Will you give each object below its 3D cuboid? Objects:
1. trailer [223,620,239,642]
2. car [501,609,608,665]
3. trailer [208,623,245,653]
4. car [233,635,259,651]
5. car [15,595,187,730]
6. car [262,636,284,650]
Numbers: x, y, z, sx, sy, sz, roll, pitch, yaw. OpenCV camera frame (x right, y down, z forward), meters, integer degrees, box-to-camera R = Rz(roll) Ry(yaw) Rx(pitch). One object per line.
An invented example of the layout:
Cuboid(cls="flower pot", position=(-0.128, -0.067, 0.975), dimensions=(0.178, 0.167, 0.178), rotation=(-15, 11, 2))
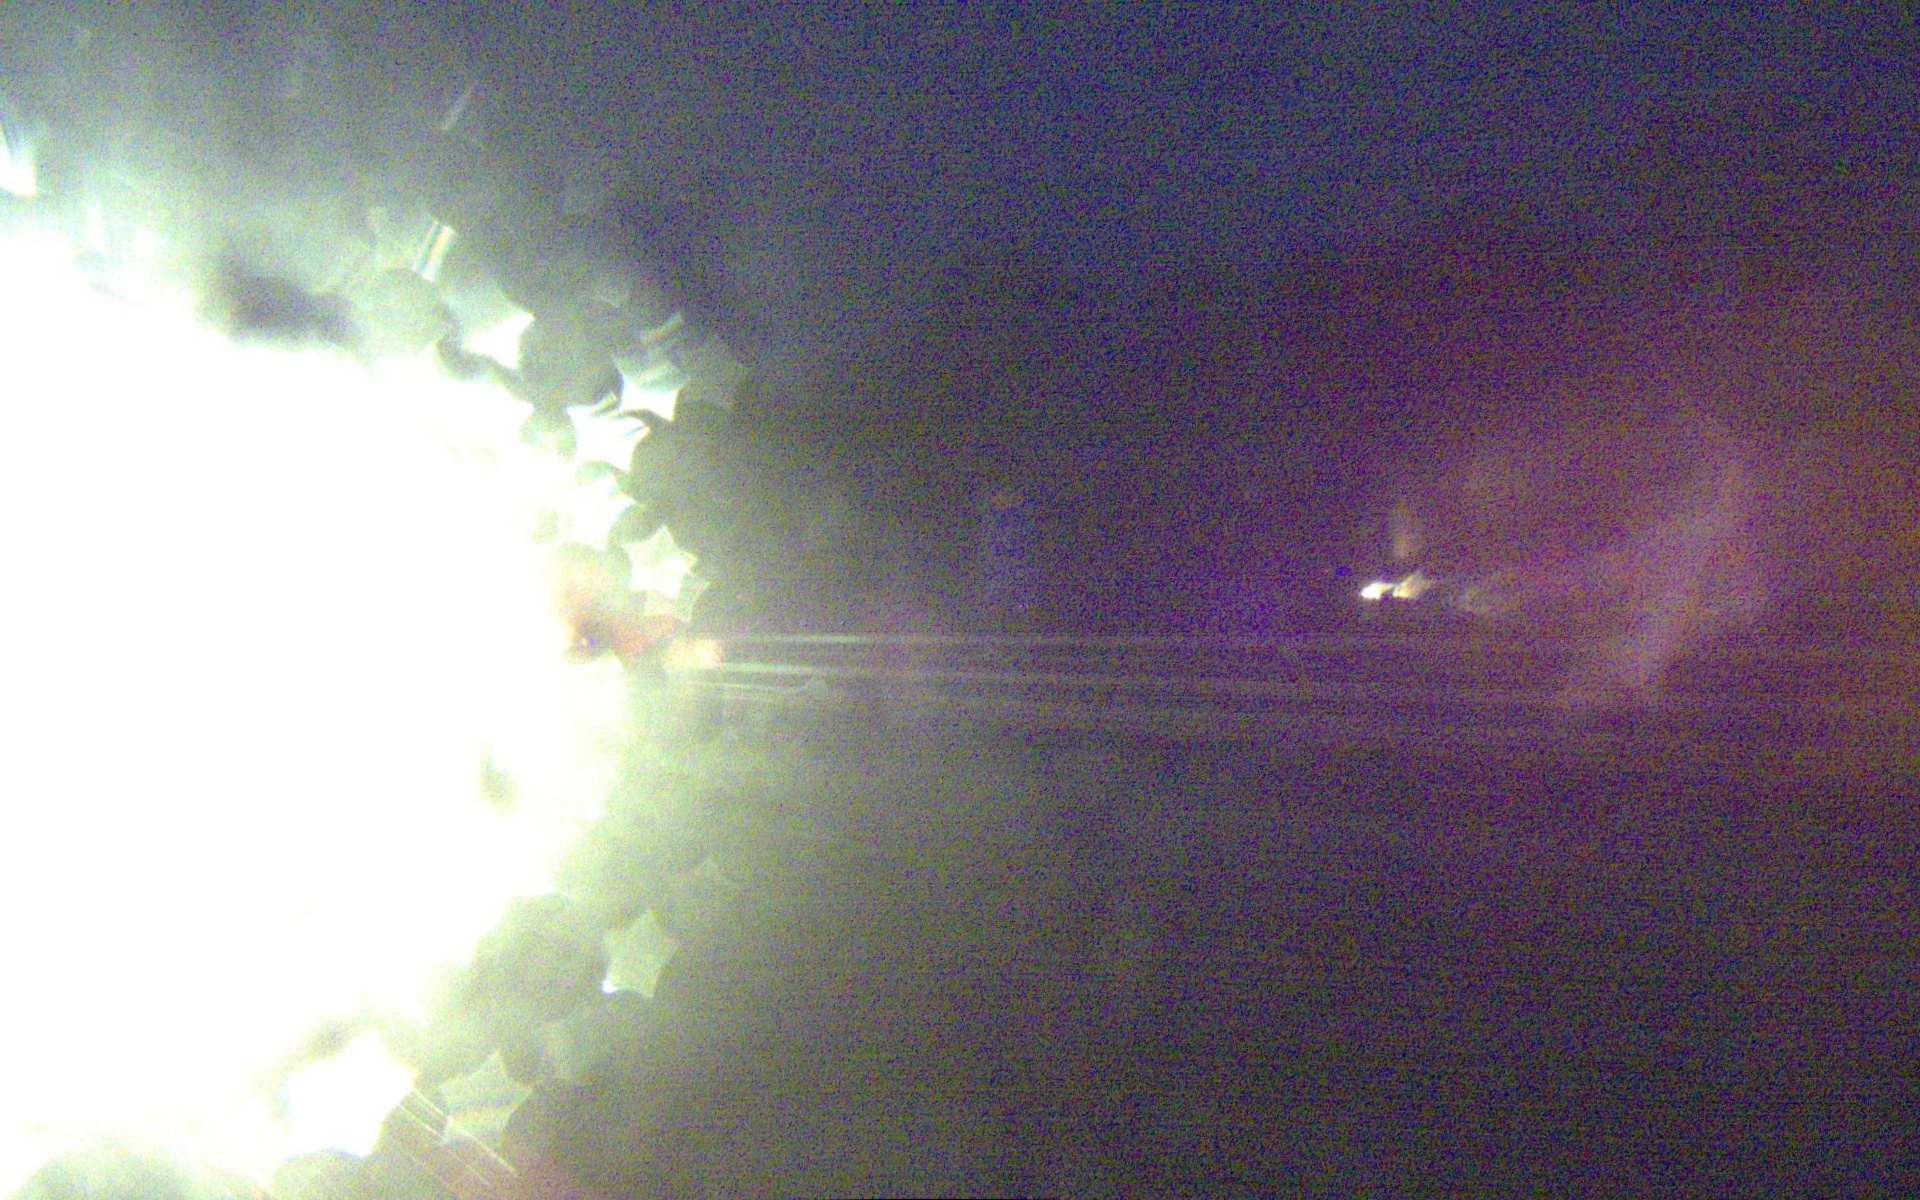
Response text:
Cuboid(cls="trailer", position=(-159.168, 6.756, 221.064), dimensions=(2.540, 4.491, 12.524), rotation=(0, -1, -35))
Cuboid(cls="car", position=(-15.879, 1.402, 39.510), dimensions=(4.809, 2.029, 1.972), rotation=(-1, -2, 42))
Cuboid(cls="trailer", position=(-90.418, 4.563, 124.650), dimensions=(2.577, 3.499, 10.459), rotation=(1, -2, -42))
Cuboid(cls="car", position=(-69.389, 4.186, 98.347), dimensions=(1.585, 1.352, 3.245), rotation=(-1, 0, -44))
Cuboid(cls="car", position=(-15.384, 1.068, 18.050), dimensions=(4.462, 2.121, 1.731), rotation=(-2, -4, 42))
Cuboid(cls="car", position=(-86.678, 5.420, 127.712), dimensions=(1.808, 1.726, 4.005), rotation=(1, -1, -42))
